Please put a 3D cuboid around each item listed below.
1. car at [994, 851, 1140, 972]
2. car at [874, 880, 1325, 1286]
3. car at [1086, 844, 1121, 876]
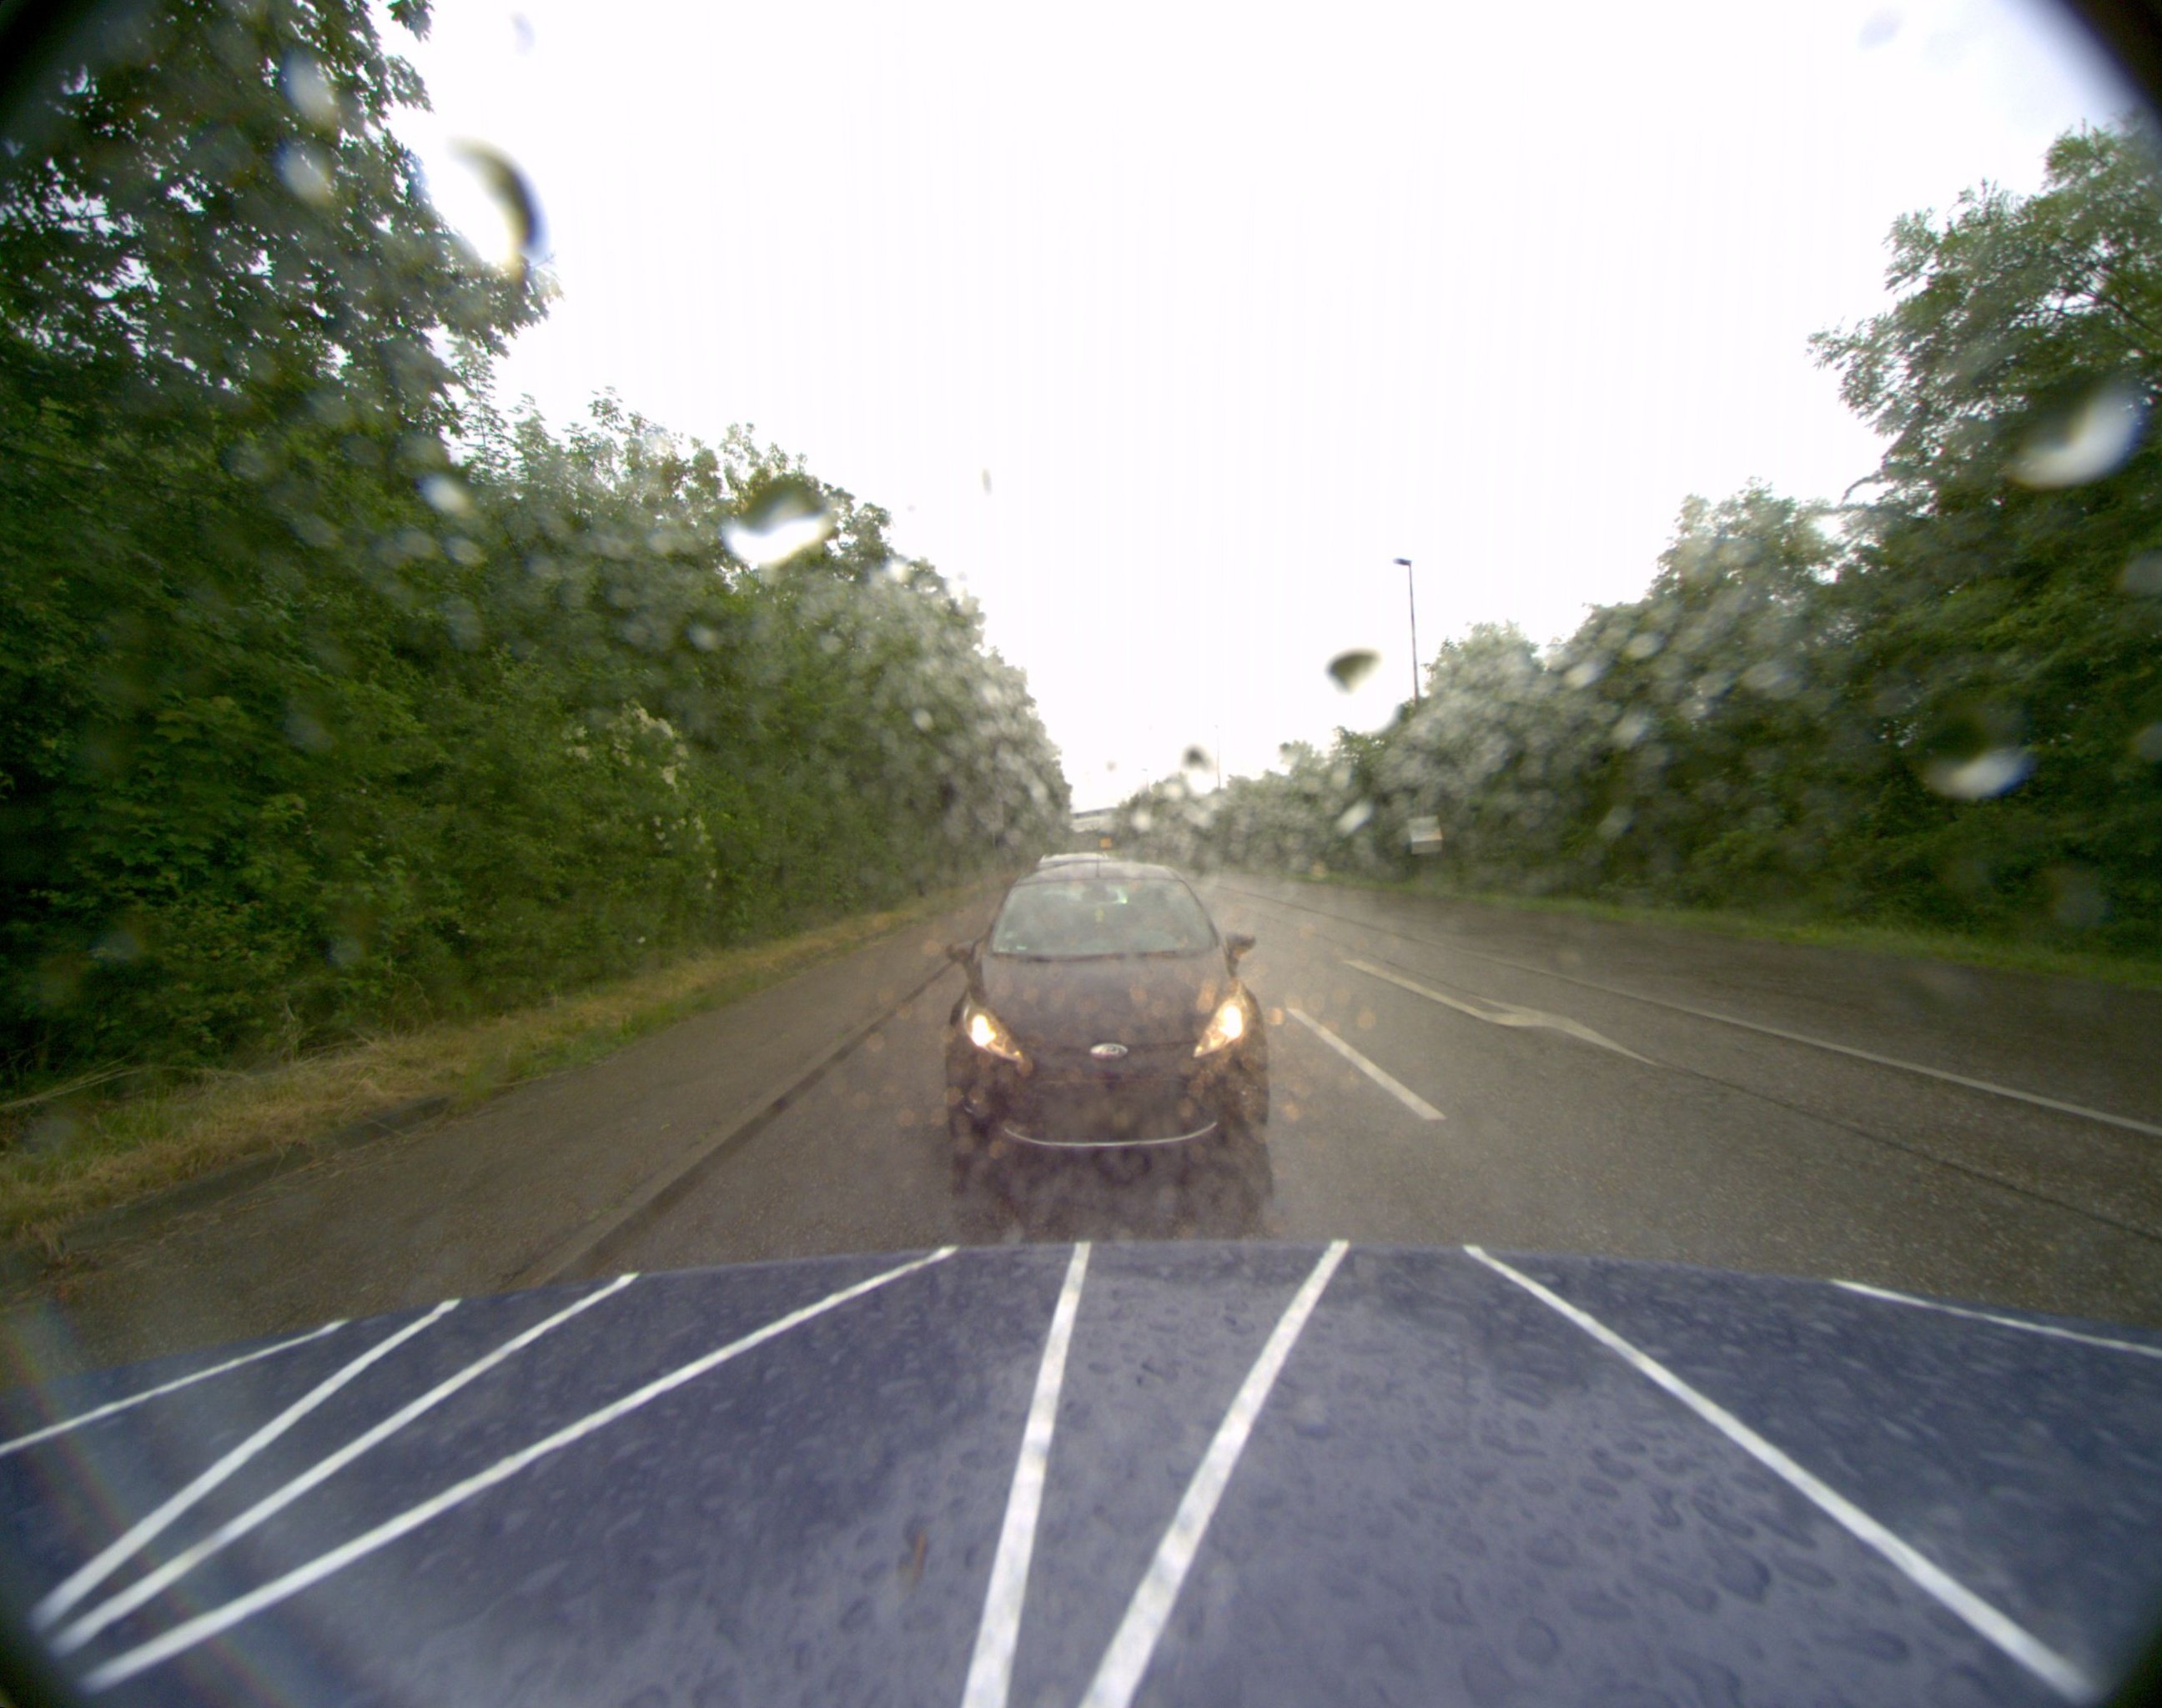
[{"bbox_3d":[-0.175,0.802,12.716,1.998,1.576,3.999,-2,1,1],"label":"car"},{"bbox_3d":[0.106,1.041,5.348,1.839,1.404,4.342,-2,1,1],"label":"car"},{"bbox_3d":[1.336,0.325,46.083,1.998,1.778,4.000,-2,0,0],"label":"car"}]
